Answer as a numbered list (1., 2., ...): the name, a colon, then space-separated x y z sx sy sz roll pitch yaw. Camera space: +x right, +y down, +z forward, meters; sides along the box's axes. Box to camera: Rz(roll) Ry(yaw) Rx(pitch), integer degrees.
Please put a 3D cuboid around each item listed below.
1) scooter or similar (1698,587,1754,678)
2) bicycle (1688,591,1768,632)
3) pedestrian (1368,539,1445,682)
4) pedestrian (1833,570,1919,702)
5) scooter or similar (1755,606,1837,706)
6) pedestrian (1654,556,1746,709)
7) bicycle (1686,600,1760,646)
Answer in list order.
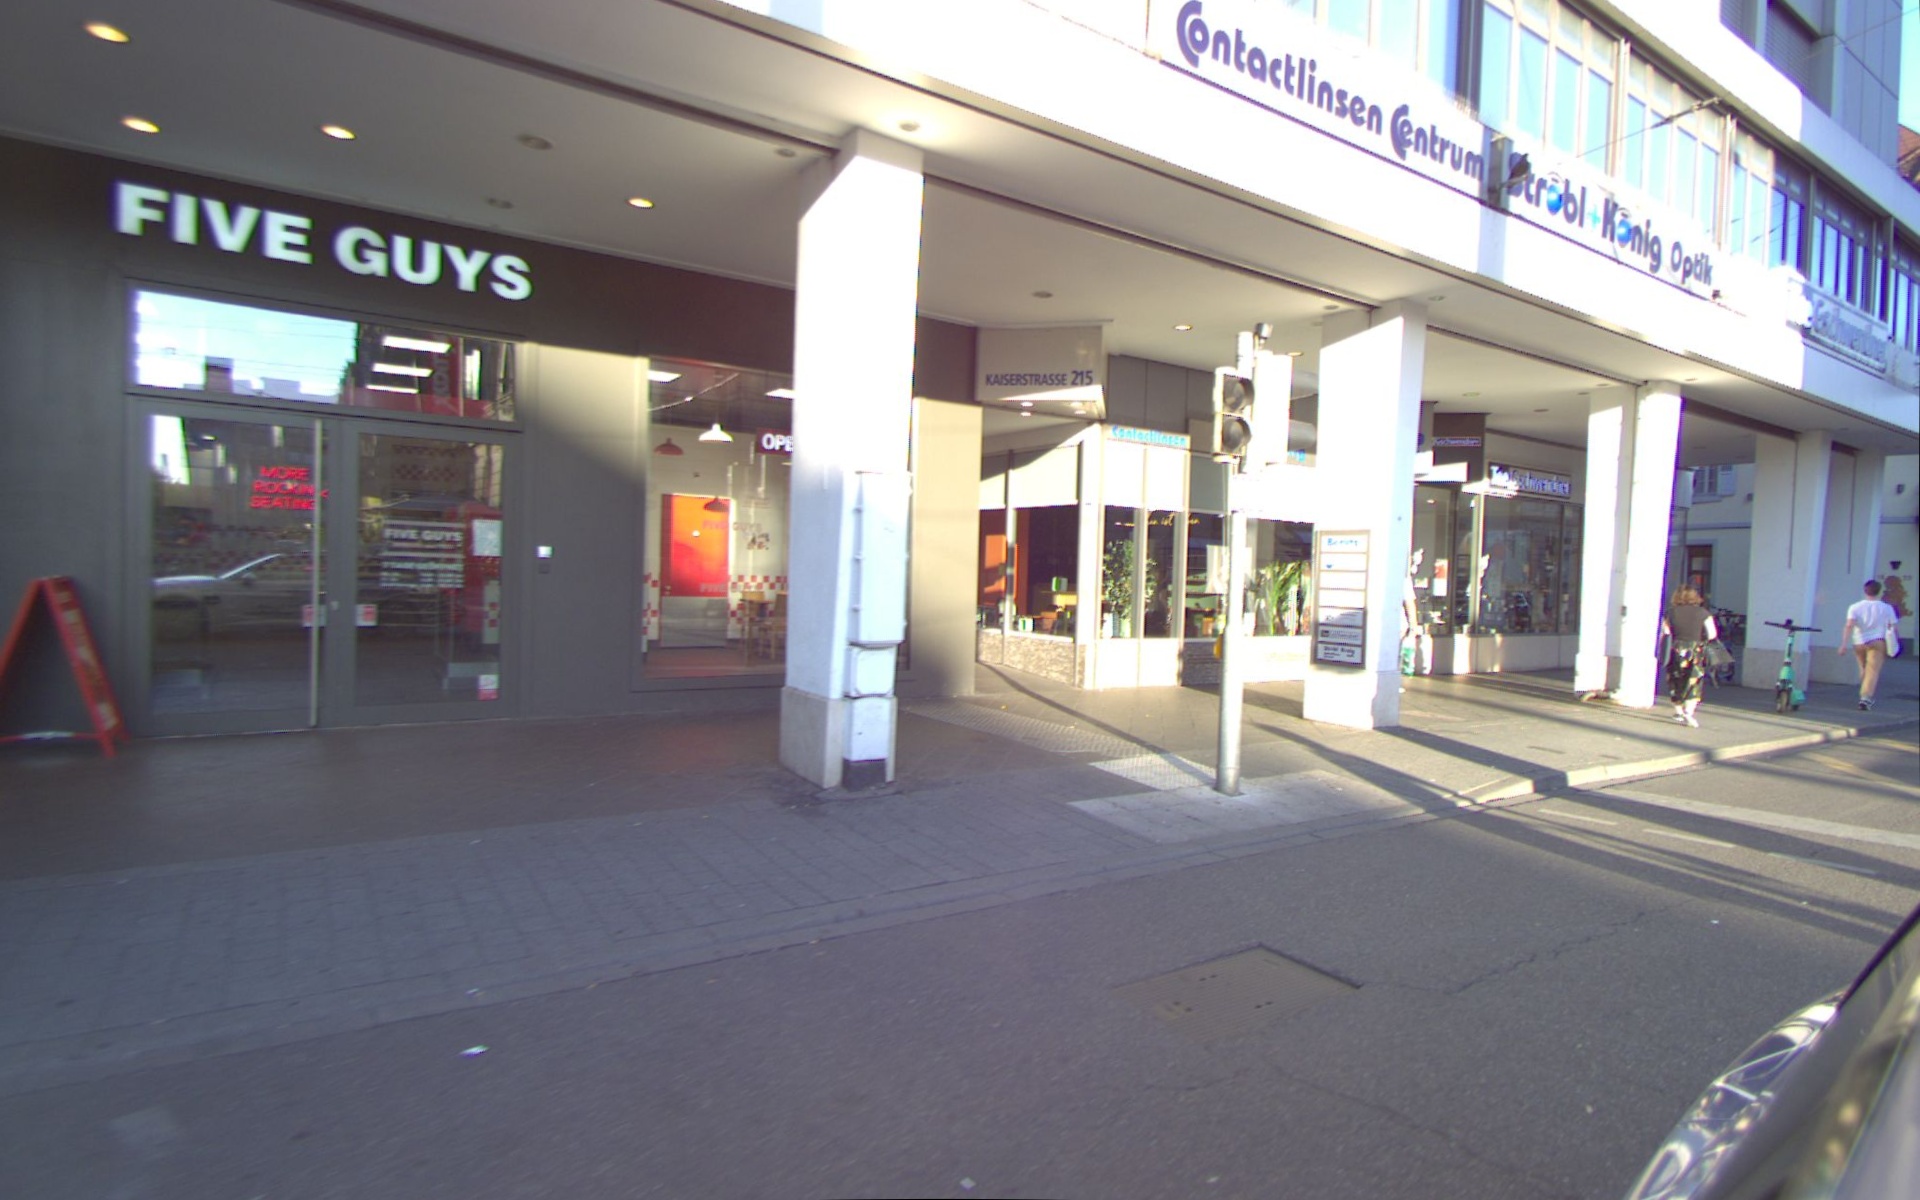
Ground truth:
1. scooter or similar: 13.078 0.536 17.267 1.289 1.507 0.315 0 2 -34
2. bicycle: 22.898 0.342 30.183 1.810 1.196 0.772 1 1 -3
3. pedestrian: 5.970 0.127 13.534 0.618 1.838 0.702 0 1 -34
4. pedestrian: 13.212 0.495 14.557 0.834 1.838 0.702 1 1 -27
5. scooter or similar: 11.146 0.725 13.495 1.157 1.249 0.507 0 2 -35
6. pedestrian: 8.532 0.358 11.691 0.531 1.714 0.701 1 1 4
7. bicycle: 18.409 0.553 24.412 1.810 1.042 0.772 2 0 -31
